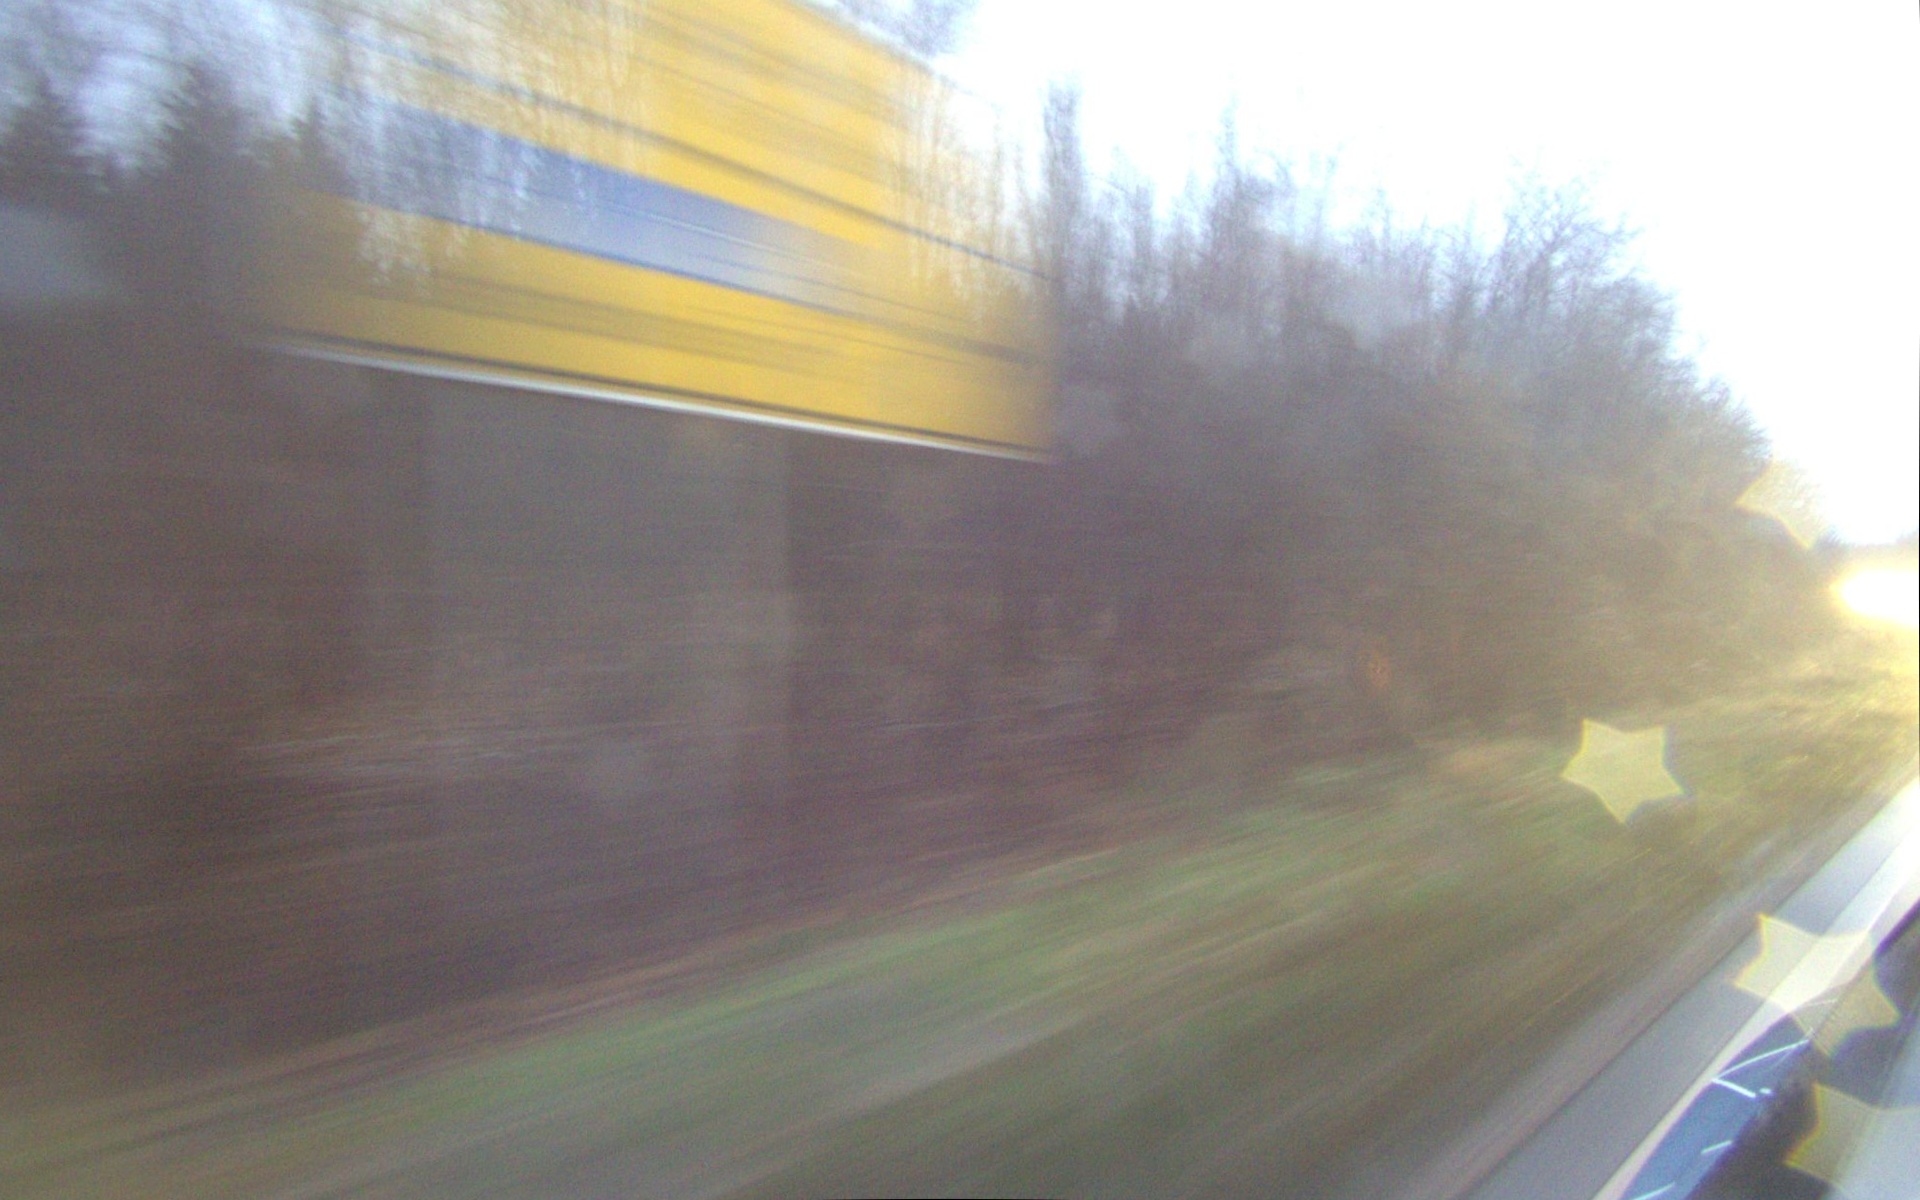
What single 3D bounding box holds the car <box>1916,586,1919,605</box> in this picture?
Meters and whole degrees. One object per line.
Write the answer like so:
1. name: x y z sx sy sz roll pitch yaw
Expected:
1. car: 89.009 -0.418 92.738 1.694 1.752 3.944 0 2 39
